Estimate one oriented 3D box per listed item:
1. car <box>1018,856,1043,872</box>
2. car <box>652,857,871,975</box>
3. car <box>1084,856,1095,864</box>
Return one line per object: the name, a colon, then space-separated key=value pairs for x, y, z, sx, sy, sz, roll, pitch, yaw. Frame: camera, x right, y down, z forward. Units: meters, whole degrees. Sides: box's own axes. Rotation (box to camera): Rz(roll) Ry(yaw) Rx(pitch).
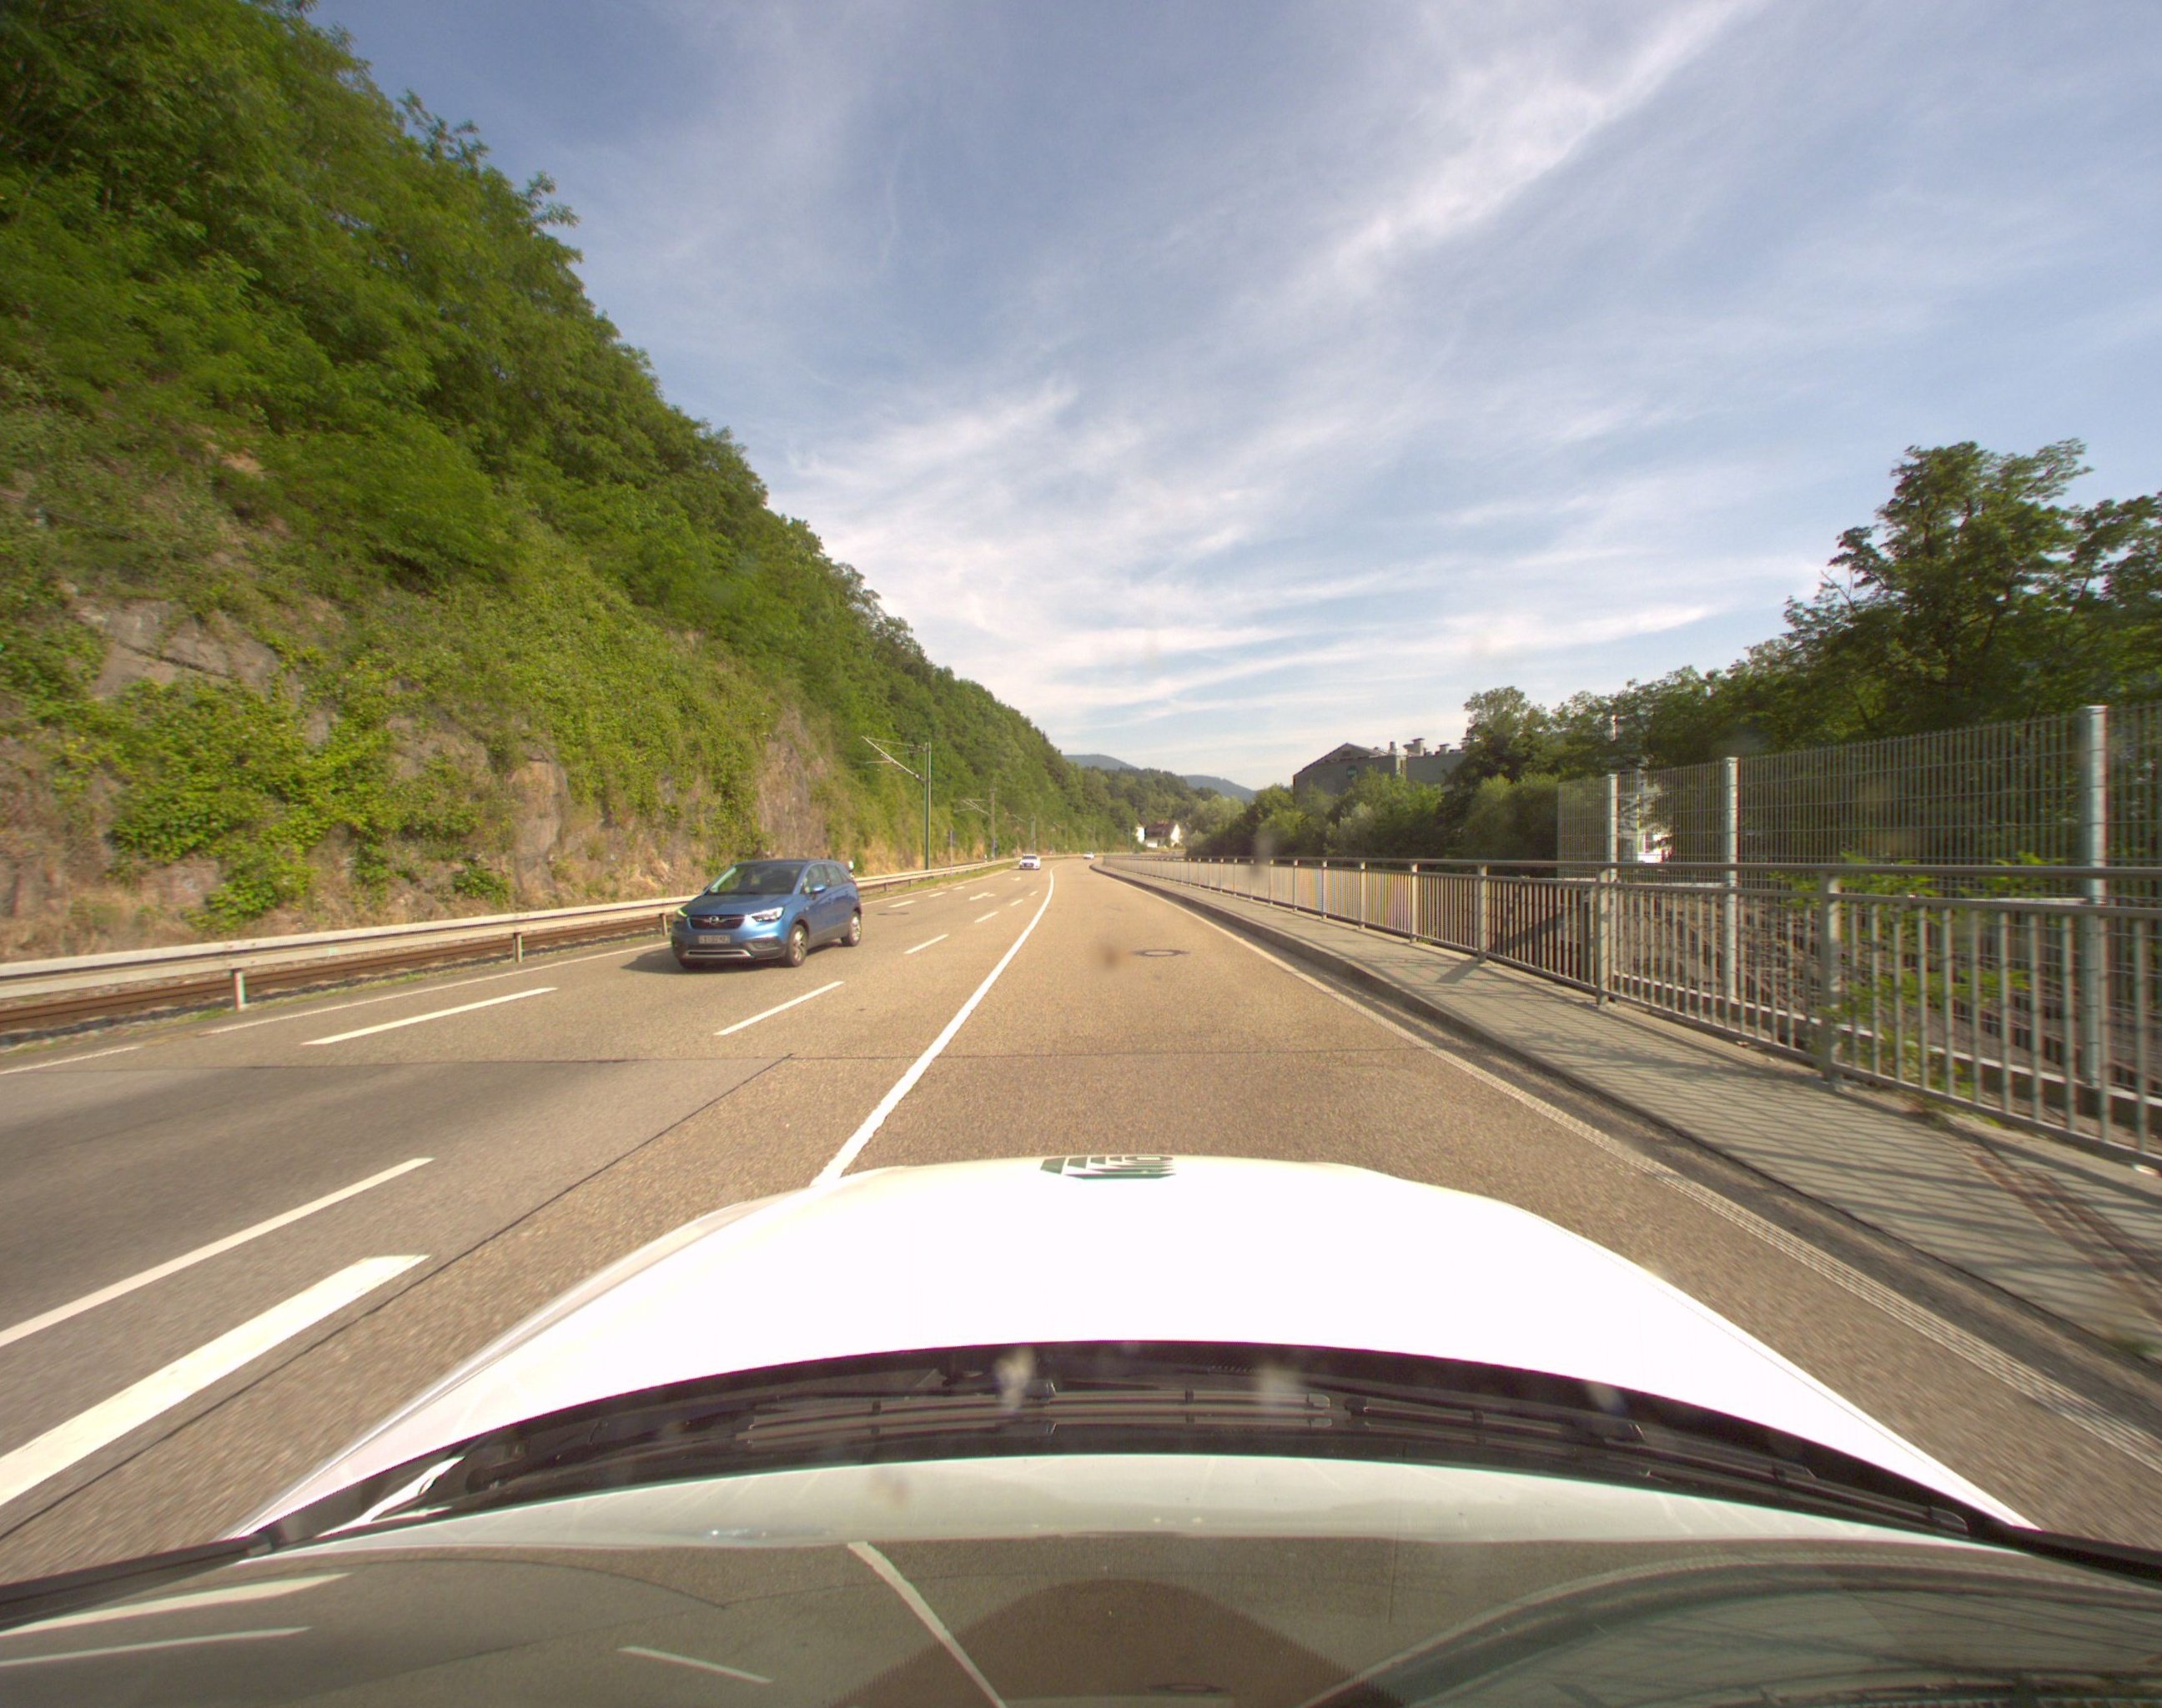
car: x=-4.801 y=0.941 z=78.488 sx=2.057 sy=1.439 sz=4.686 roll=1 pitch=0 yaw=0
car: x=-4.892 y=0.852 z=13.160 sx=1.712 sy=1.570 sz=4.137 roll=-2 pitch=0 yaw=2
car: x=1.807 y=1.317 z=172.558 sx=1.837 sy=1.544 sz=4.613 roll=-2 pitch=0 yaw=7
